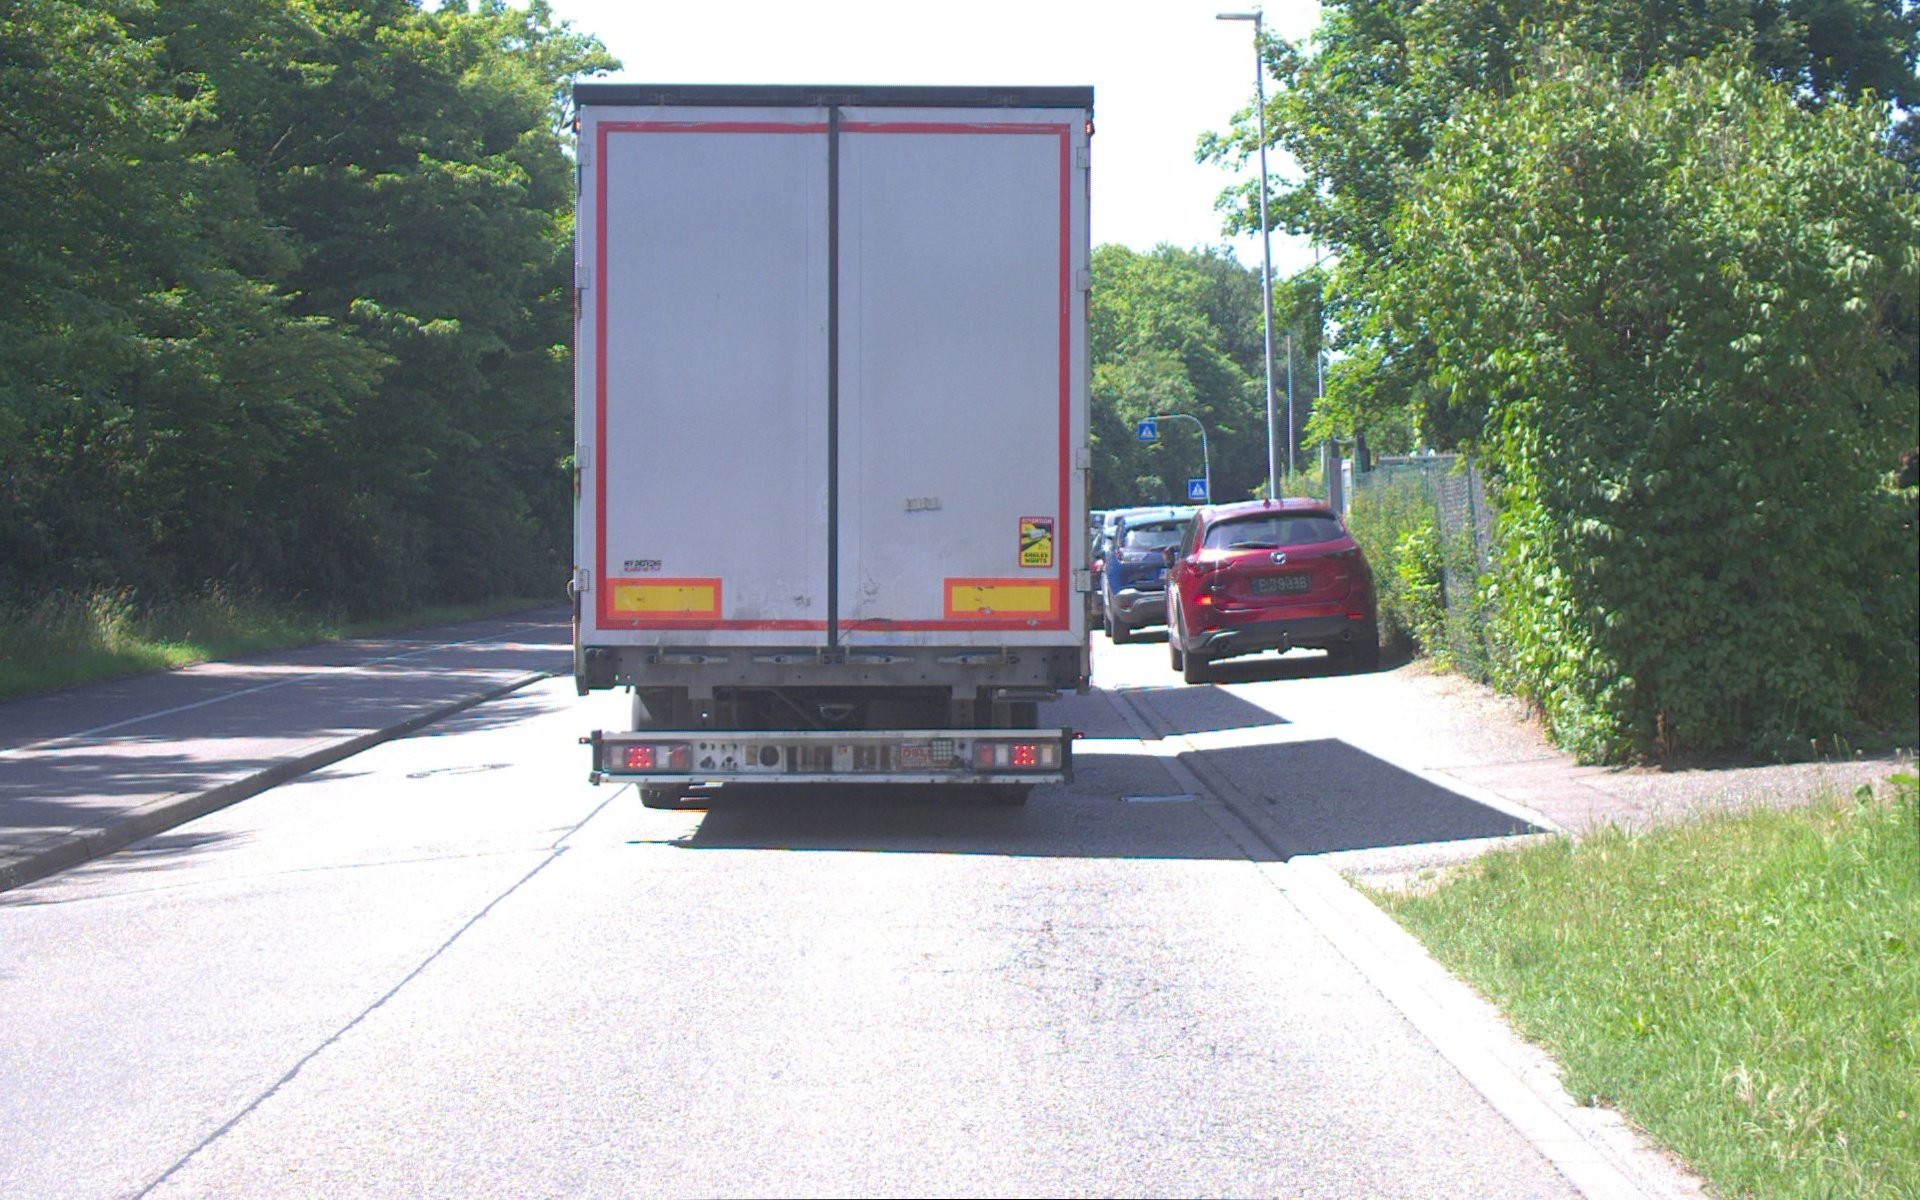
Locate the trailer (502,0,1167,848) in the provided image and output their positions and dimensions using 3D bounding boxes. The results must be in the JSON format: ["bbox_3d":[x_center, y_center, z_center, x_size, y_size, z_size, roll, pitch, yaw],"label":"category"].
[{"bbox_3d":[-0.706,-1.010,22.411,3.112,4.088,11.538,-2,1,-1],"label":"trailer"}]

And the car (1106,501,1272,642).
[{"bbox_3d":[2.873,-0.407,43.818,1.789,1.598,4.130,-3,2,0],"label":"car"}]

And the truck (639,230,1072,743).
[{"bbox_3d":[-0.867,-0.911,28.659,3.113,3.712,6.414,-2,1,-2],"label":"truck"}]

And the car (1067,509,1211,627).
[{"bbox_3d":[2.557,-0.501,49.996,1.789,1.476,4.665,-5,1,1],"label":"car"}]

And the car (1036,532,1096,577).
[{"bbox_3d":[3.706,-1.597,119.506,1.781,1.481,3.999,-1,1,6],"label":"car"}]

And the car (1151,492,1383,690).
[{"bbox_3d":[2.935,-0.142,33.687,1.789,1.652,4.453,-5,1,1],"label":"car"}]
